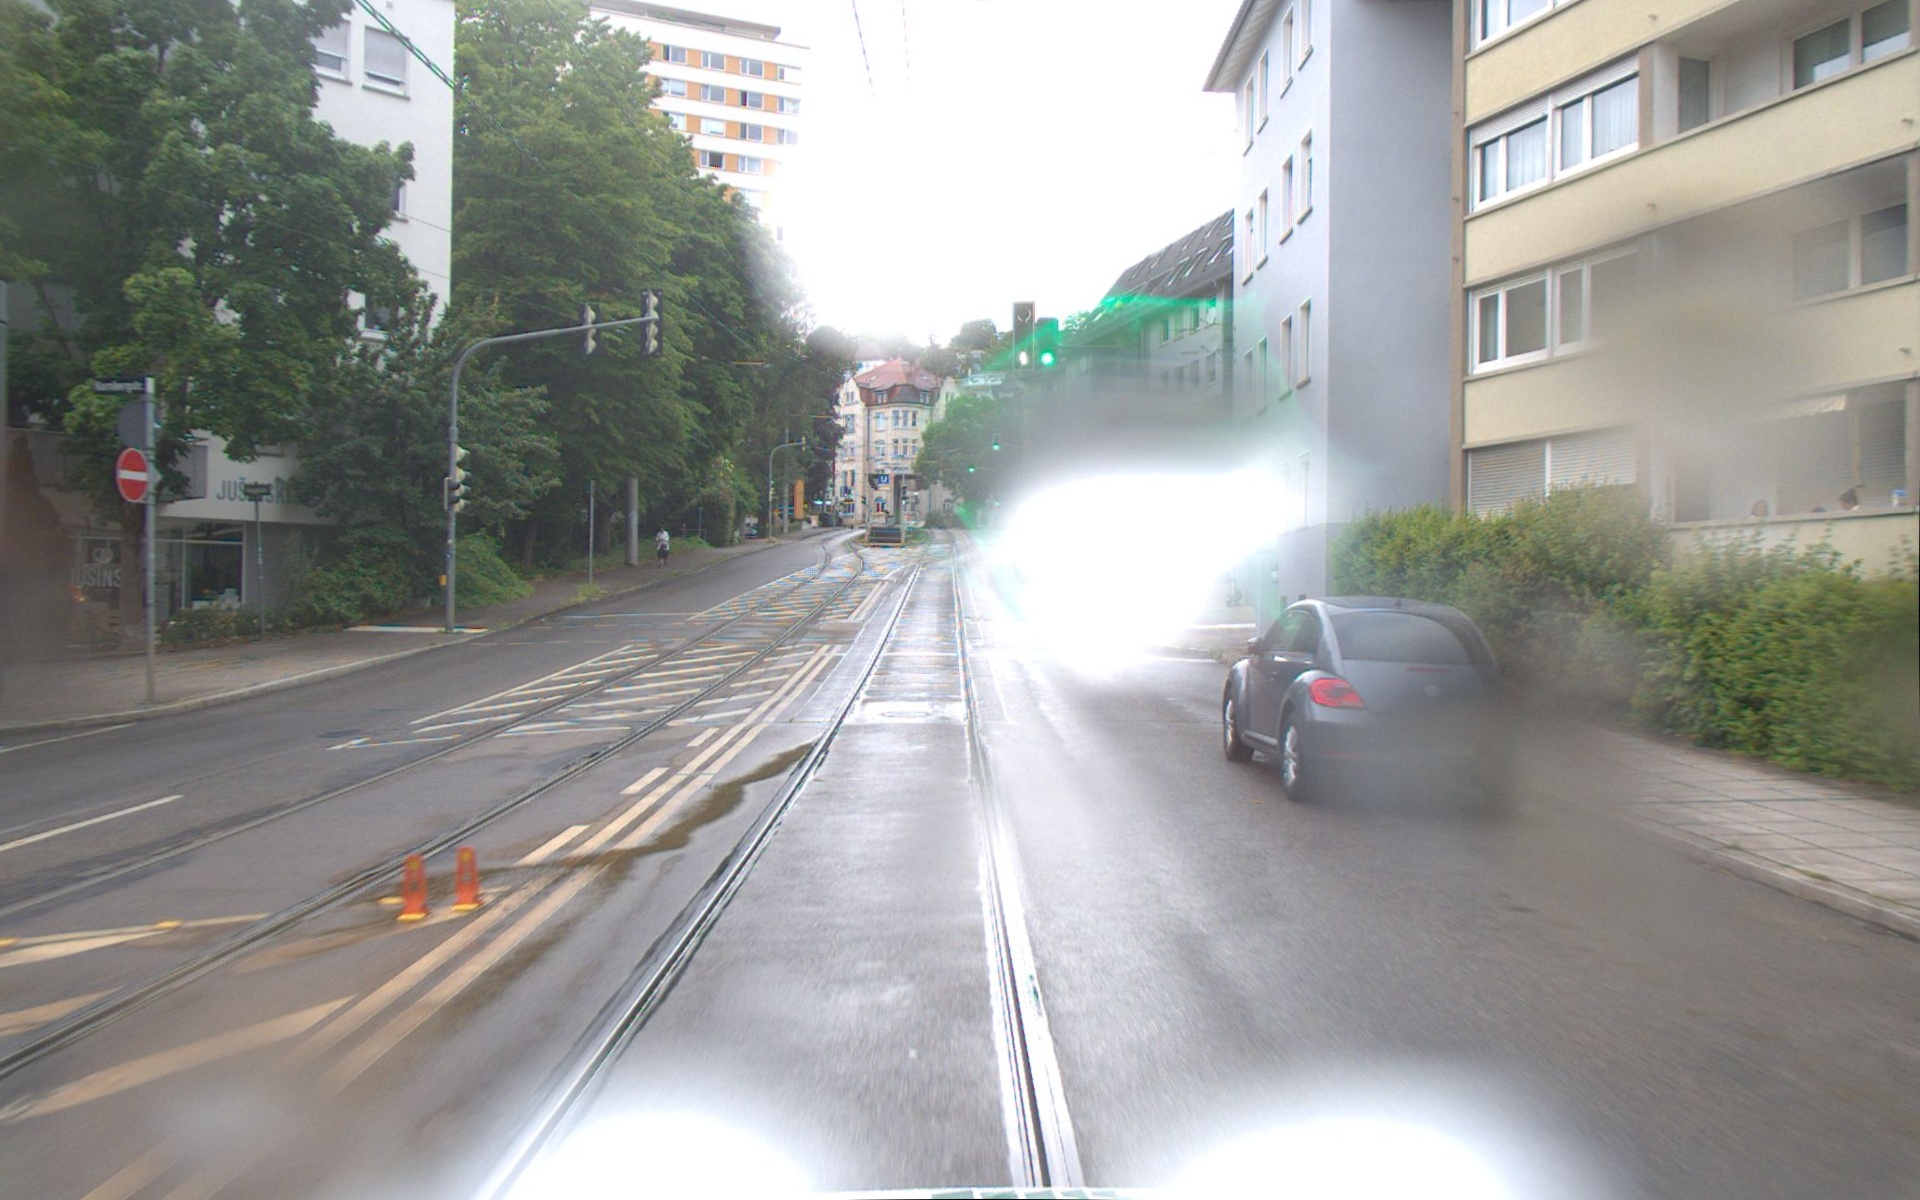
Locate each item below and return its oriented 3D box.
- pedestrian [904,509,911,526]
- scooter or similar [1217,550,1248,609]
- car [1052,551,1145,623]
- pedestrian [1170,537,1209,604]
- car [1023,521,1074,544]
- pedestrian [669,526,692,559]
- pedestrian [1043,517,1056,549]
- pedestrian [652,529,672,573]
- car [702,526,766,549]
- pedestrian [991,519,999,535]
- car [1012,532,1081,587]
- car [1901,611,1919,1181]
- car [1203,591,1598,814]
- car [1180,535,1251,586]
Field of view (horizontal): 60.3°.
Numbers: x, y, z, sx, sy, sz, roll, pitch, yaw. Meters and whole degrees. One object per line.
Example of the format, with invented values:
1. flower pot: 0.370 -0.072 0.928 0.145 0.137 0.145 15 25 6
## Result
1. pedestrian: -4.943 -7.723 155.258 0.643 1.492 0.772 0 -1 2
2. scooter or similar: 6.421 -0.492 38.981 0.562 1.270 1.612 1 5 5
3. car: 3.149 -0.344 38.359 1.670 1.458 4.101 2 2 -2
4. pedestrian: 5.762 -0.748 41.608 0.864 1.610 0.802 -2 4 1
5. car: 7.023 -5.361 131.301 3.906 1.674 1.807 1 0 -1
6. pedestrian: -14.723 -3.036 87.052 0.898 1.707 0.739 0 -2 28
7. pedestrian: 4.789 -3.589 88.393 0.631 1.657 0.700 1 1 3
8. pedestrian: -11.181 -1.841 62.046 0.571 1.628 0.869 3 1 -4
9. car: -15.039 -4.174 110.130 3.906 1.430 1.682 1 -1 22
10. pedestrian: 3.336 -6.962 157.700 0.567 1.492 0.543 1 -1 -9
11. car: 2.804 -1.386 54.595 1.868 1.670 4.689 2 2 -2
12. car: 3.546 0.811 2.202 1.820 1.513 4.643 1 0 -2
13. car: 3.329 0.699 13.414 1.901 1.489 4.204 1 0 -3
14. car: 8.745 -1.318 56.896 1.685 1.541 4.202 1 -1 -1
